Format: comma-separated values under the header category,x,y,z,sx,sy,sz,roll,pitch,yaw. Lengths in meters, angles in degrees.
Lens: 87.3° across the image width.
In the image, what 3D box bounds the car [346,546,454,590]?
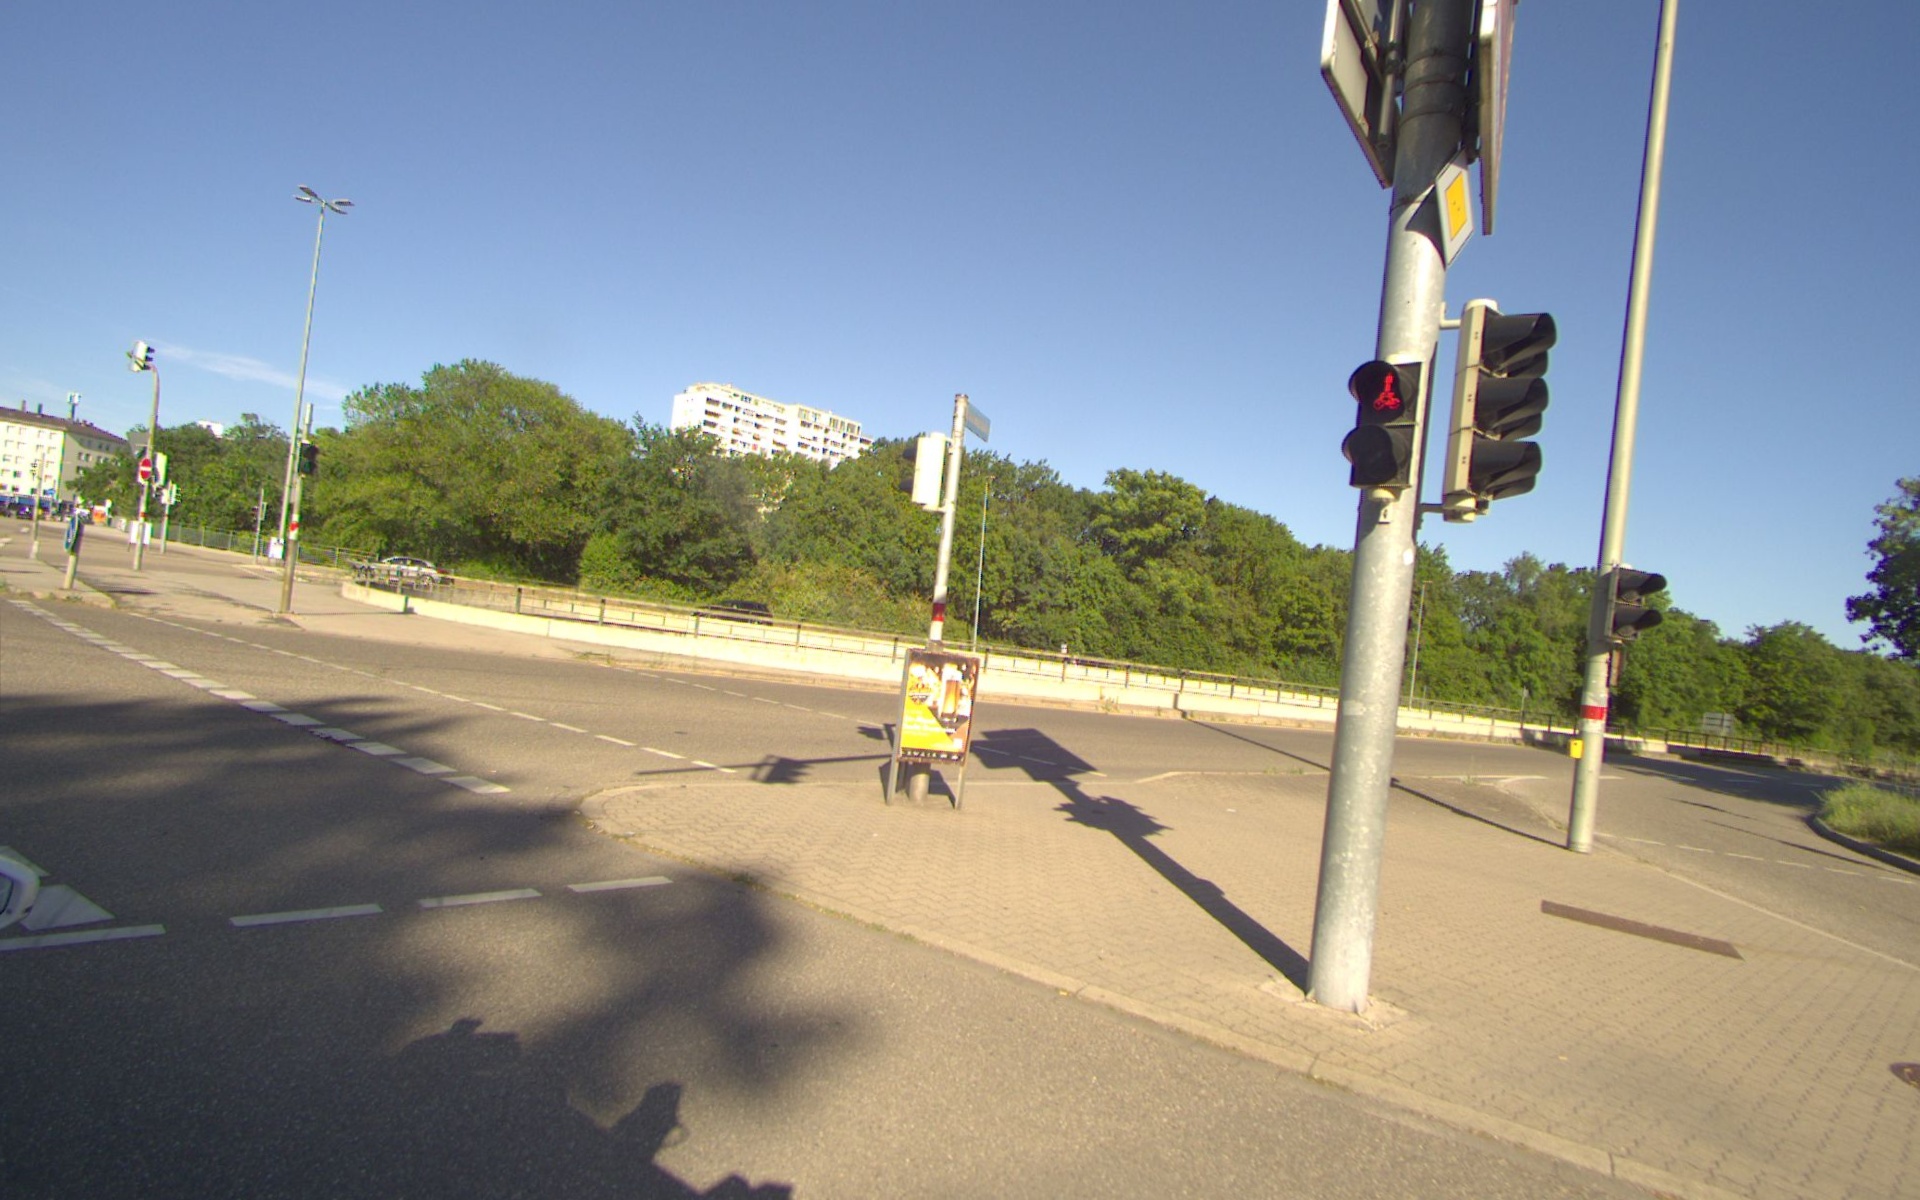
category,x,y,z,sx,sy,sz,roll,pitch,yaw
car,-27.722,-1.576,49.938,4.179,1.570,1.856,8,-1,-15

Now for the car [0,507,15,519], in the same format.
category,x,y,z,sx,sy,sz,roll,pitch,yaw
car,-149.836,-13.662,157.137,1.929,1.546,4.071,8,-2,-27

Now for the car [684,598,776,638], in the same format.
category,x,y,z,sx,sy,sz,roll,pitch,yaw
car,-13.048,1.055,57.277,4.639,1.635,1.843,8,-1,-36
